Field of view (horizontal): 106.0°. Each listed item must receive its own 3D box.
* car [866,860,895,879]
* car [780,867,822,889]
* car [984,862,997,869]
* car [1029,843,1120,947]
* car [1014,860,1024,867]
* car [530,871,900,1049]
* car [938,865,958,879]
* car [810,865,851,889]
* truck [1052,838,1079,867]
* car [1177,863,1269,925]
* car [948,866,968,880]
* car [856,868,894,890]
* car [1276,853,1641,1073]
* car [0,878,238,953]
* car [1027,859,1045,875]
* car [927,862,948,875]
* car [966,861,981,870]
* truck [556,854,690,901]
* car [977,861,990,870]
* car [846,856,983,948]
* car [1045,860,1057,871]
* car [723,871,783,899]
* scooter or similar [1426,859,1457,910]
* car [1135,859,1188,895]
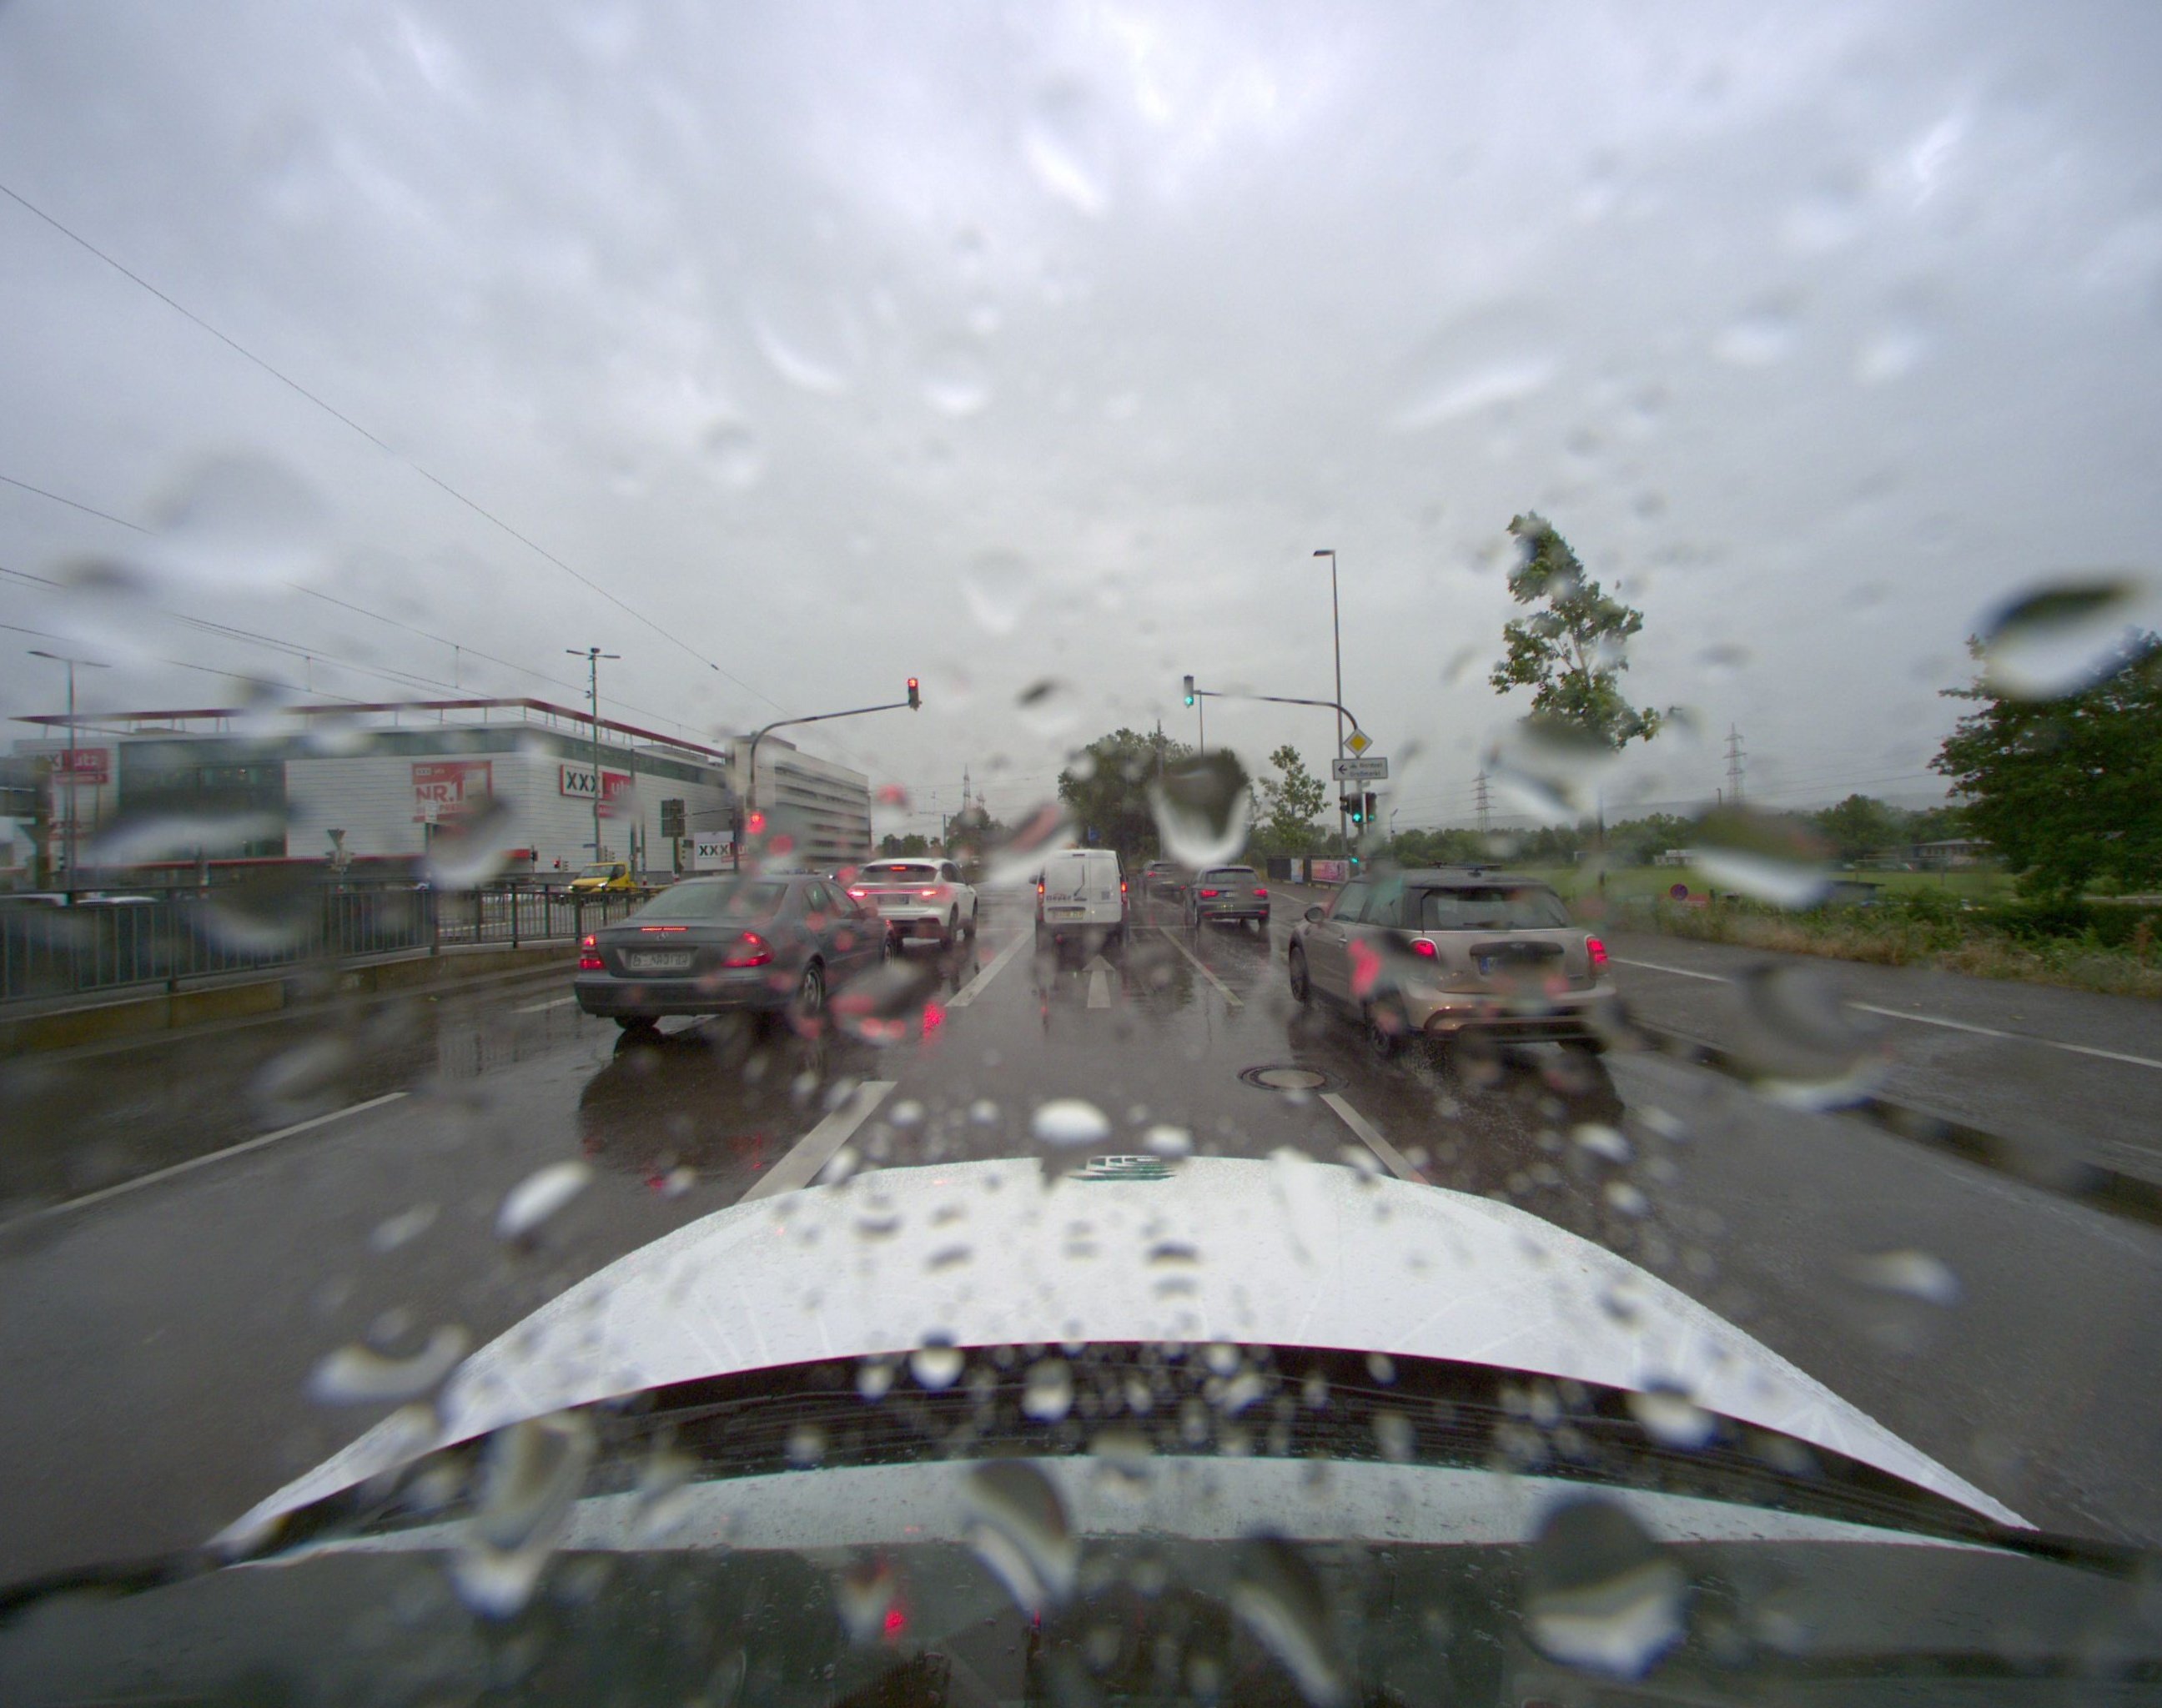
[{"bbox_3d":[-21.916,1.721,89.185,1.984,2.014,4.004,0,-1,4],"label":"car"},{"bbox_3d":[-22.277,1.906,64.910,1.720,1.661,3.544,0,-3,9],"label":"car"},{"bbox_3d":[-19.288,2.426,173.938,1.985,1.587,4.003,0,-1,3],"label":"car"},{"bbox_3d":[-0.051,0.753,16.197,1.560,1.788,4.001,-1,-1,2],"label":"car"},{"bbox_3d":[-15.946,2.351,208.696,1.985,1.757,4.003,0,-1,3],"label":"car"},{"bbox_3d":[-3.424,0.900,8.795,1.755,1.398,4.646,0,-1,2],"label":"car"},{"bbox_3d":[-17.923,2.378,109.670,1.816,1.807,3.772,0,-1,3],"label":"car"},{"bbox_3d":[-19.647,1.822,64.061,1.838,1.798,4.002,-1,-3,3],"label":"car"},{"bbox_3d":[-1.543,-0.091,82.161,2.625,2.816,7.141,-1,-1,-1],"label":"truck"},{"bbox_3d":[3.316,0.903,19.583,1.623,1.344,3.624,0,-1,1],"label":"car"},{"bbox_3d":[-17.632,2.709,116.778,1.985,2.014,4.003,0,-1,3],"label":"car"},{"bbox_3d":[-18.206,2.185,72.170,1.919,1.827,4.007,-1,-1,6],"label":"car"},{"bbox_3d":[3.047,0.771,7.456,1.707,1.508,3.624,0,-1,1],"label":"car"},{"bbox_3d":[-20.093,1.172,16.600,1.579,1.336,3.837,-1,-1,6],"label":"car"},{"bbox_3d":[-5.442,1.534,98.258,1.990,1.860,3.993,0,-1,-5],"label":"car"},{"bbox_3d":[-17.939,1.847,102.225,1.755,1.550,3.683,0,-1,3],"label":"car"},{"bbox_3d":[-20.013,2.221,151.721,1.985,1.663,4.003,0,-1,3],"label":"car"},{"bbox_3d":[-24.217,1.234,43.601,2.341,2.279,7.641,0,-1,4],"label":"truck"},{"bbox_3d":[-19.834,2.382,166.359,1.985,1.708,4.003,0,-1,3],"label":"car"},{"bbox_3d":[-3.067,0.821,15.867,1.723,1.535,4.298,0,0,1],"label":"car"},{"bbox_3d":[-4.836,1.874,131.270,1.988,1.860,3.996,0,-1,-2],"label":"car"},{"bbox_3d":[-20.812,1.965,51.892,1.883,1.699,4.006,-1,-1,6],"label":"car"},{"bbox_3d":[8.475,0.705,19.168,0.244,1.158,1.187,0,-1,3],"label":"scooter or similar"},{"bbox_3d":[3.337,0.930,34.284,1.854,1.428,3.806,0,0,0],"label":"car"}]
